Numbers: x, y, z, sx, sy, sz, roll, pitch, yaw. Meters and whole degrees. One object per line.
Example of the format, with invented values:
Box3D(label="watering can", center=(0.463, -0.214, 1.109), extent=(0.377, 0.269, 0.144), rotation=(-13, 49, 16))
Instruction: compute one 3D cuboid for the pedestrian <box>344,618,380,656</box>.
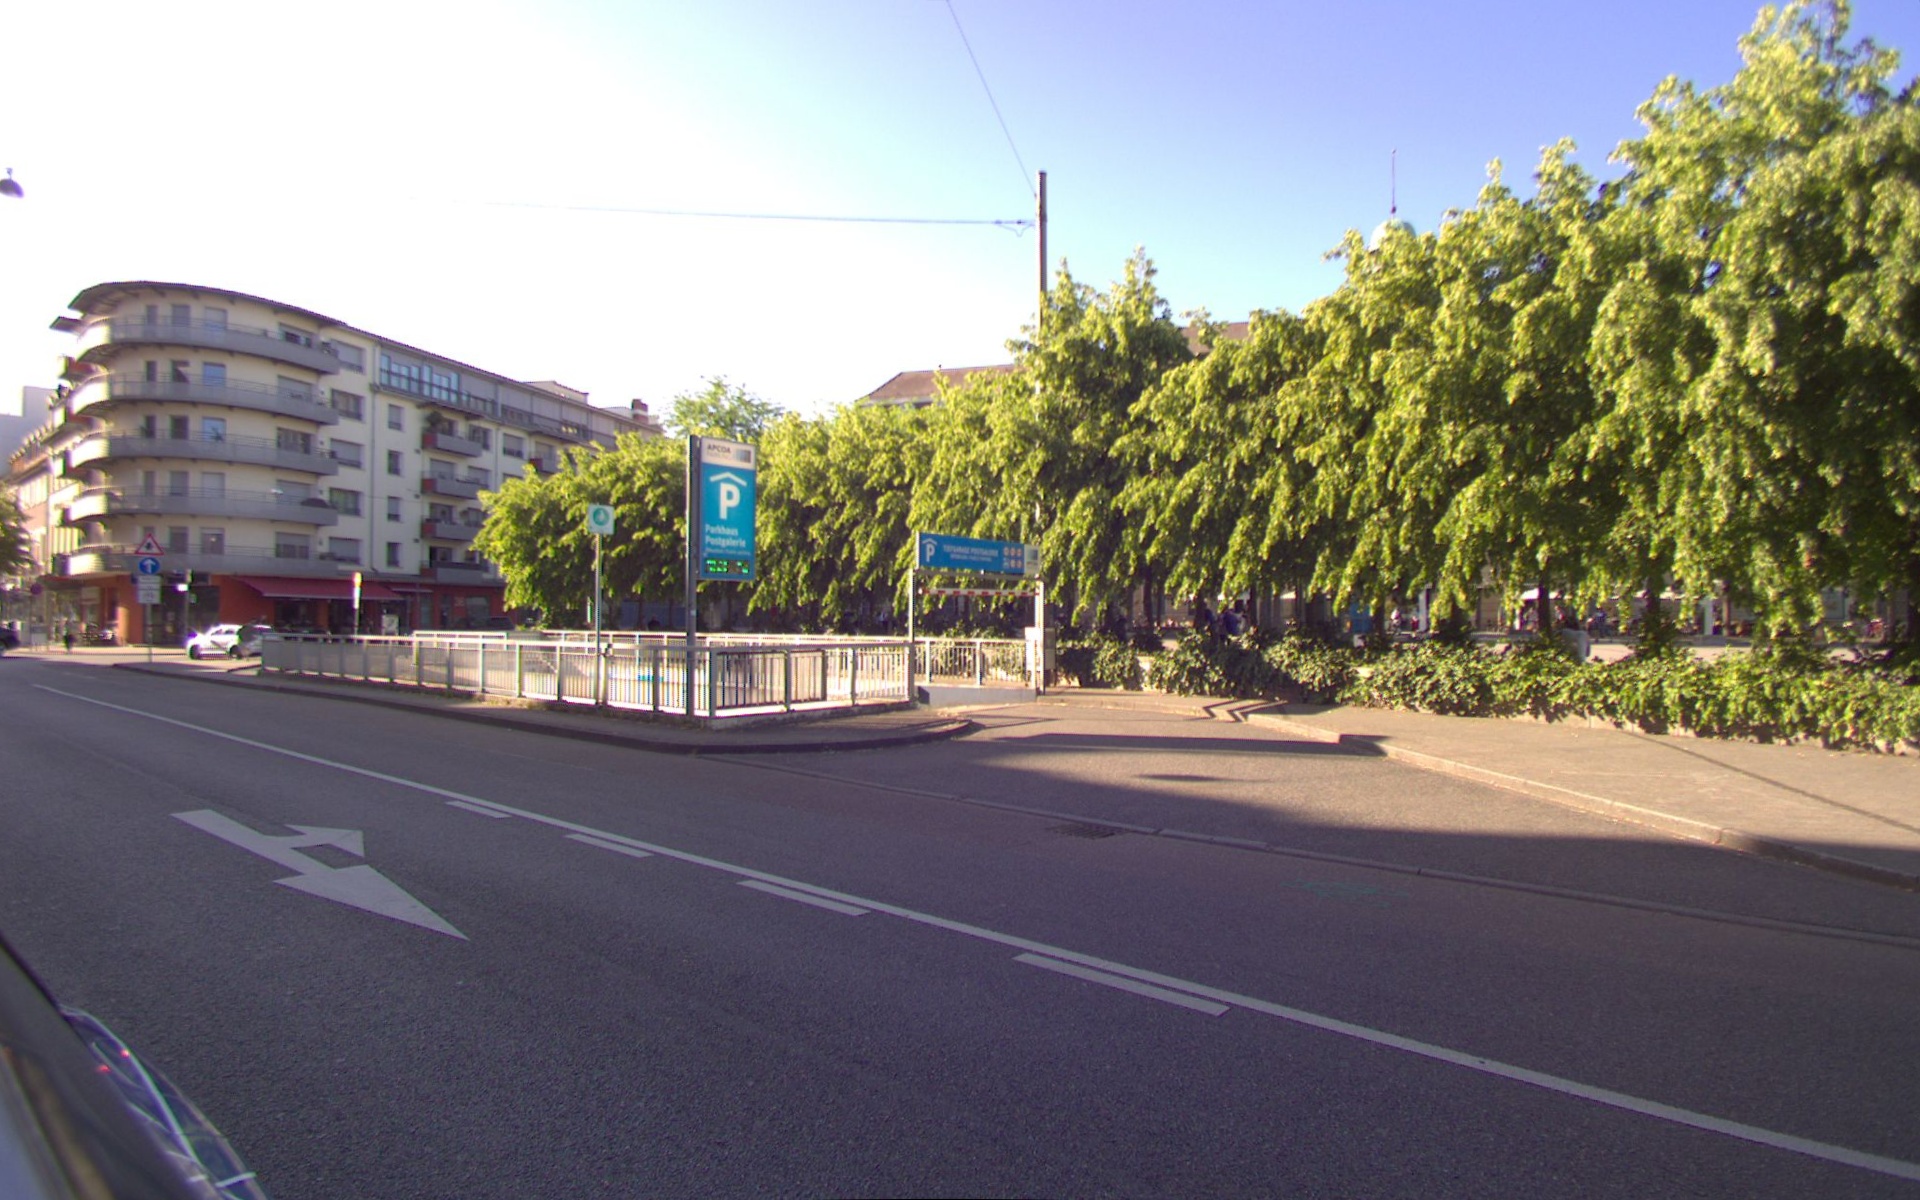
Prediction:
Box3D(label="pedestrian", center=(-32.822, 2.009, 55.565), extent=(1.251, 2.029, 1.226), rotation=(-1, -1, 19))

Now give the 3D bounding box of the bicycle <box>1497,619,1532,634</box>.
Box3D(label="bicycle", center=(35.977, 1.723, 65.648), extent=(1.882, 0.961, 0.588), rotation=(-1, -1, 4))

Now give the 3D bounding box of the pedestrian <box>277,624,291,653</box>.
Box3D(label="pedestrian", center=(-35.320, 2.025, 52.896), extent=(0.573, 1.501, 0.794), rotation=(0, -1, -36))

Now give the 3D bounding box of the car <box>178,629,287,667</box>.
Box3D(label="car", center=(-29.255, 1.895, 40.669), extent=(4.228, 1.445, 1.788), rotation=(-1, -1, 26))

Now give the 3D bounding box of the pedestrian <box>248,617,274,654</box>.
Box3D(label="pedestrian", center=(-34.519, 1.746, 49.987), extent=(0.746, 1.819, 0.755), rotation=(-1, -1, -1))

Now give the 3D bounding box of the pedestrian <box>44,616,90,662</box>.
Box3D(label="pedestrian", center=(-40.760, 1.761, 46.199), extent=(1.008, 2.029, 1.198), rotation=(-1, 0, 4))

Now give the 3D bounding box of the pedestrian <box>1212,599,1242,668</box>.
Box3D(label="pedestrian", center=(6.682, 0.828, 25.322), extent=(0.672, 1.683, 0.843), rotation=(-1, -1, 13))

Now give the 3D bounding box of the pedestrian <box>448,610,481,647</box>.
Box3D(label="pedestrian", center=(-27.089, 1.553, 55.356), extent=(1.296, 2.029, 1.300), rotation=(-1, -1, 45))

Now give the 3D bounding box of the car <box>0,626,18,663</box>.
Box3D(label="car", center=(-37.568, 1.677, 36.917), extent=(1.986, 1.394, 4.259), rotation=(-1, -1, 21))

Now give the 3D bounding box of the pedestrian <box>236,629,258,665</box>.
Box3D(label="pedestrian", center=(-34.657, 2.289, 49.201), extent=(0.698, 1.719, 0.667), rotation=(-1, -1, 35))

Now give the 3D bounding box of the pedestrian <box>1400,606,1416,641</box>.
Box3D(label="pedestrian", center=(25.216, 1.315, 56.977), extent=(0.751, 1.948, 0.938), rotation=(-1, -1, 20))

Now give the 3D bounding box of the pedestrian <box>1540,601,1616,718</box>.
Box3D(label="pedestrian", center=(9.765, 0.913, 15.983), extent=(0.885, 1.771, 0.738), rotation=(0, -1, -39))

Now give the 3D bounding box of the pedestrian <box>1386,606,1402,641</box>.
Box3D(label="pedestrian", center=(24.524, 1.330, 57.232), extent=(0.751, 1.948, 0.938), rotation=(-1, -1, 20))

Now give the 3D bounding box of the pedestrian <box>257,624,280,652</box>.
Box3D(label="pedestrian", center=(-36.740, 2.030, 53.776), extent=(0.782, 1.473, 0.582), rotation=(0, -1, 3))

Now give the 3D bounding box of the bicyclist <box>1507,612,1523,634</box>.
Box3D(label="bicyclist", center=(35.991, 1.483, 65.635), extent=(0.690, 1.439, 0.672), rotation=(-1, -1, 7))

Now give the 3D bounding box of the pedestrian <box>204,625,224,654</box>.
Box3D(label="pedestrian", center=(-37.743, 1.992, 51.206), extent=(0.780, 1.472, 0.583), rotation=(0, -1, -40))

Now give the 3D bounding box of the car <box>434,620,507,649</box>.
Box3D(label="car", center=(-30.531, 2.136, 63.208), extent=(1.983, 1.763, 3.977), rotation=(-1, -1, 17))
